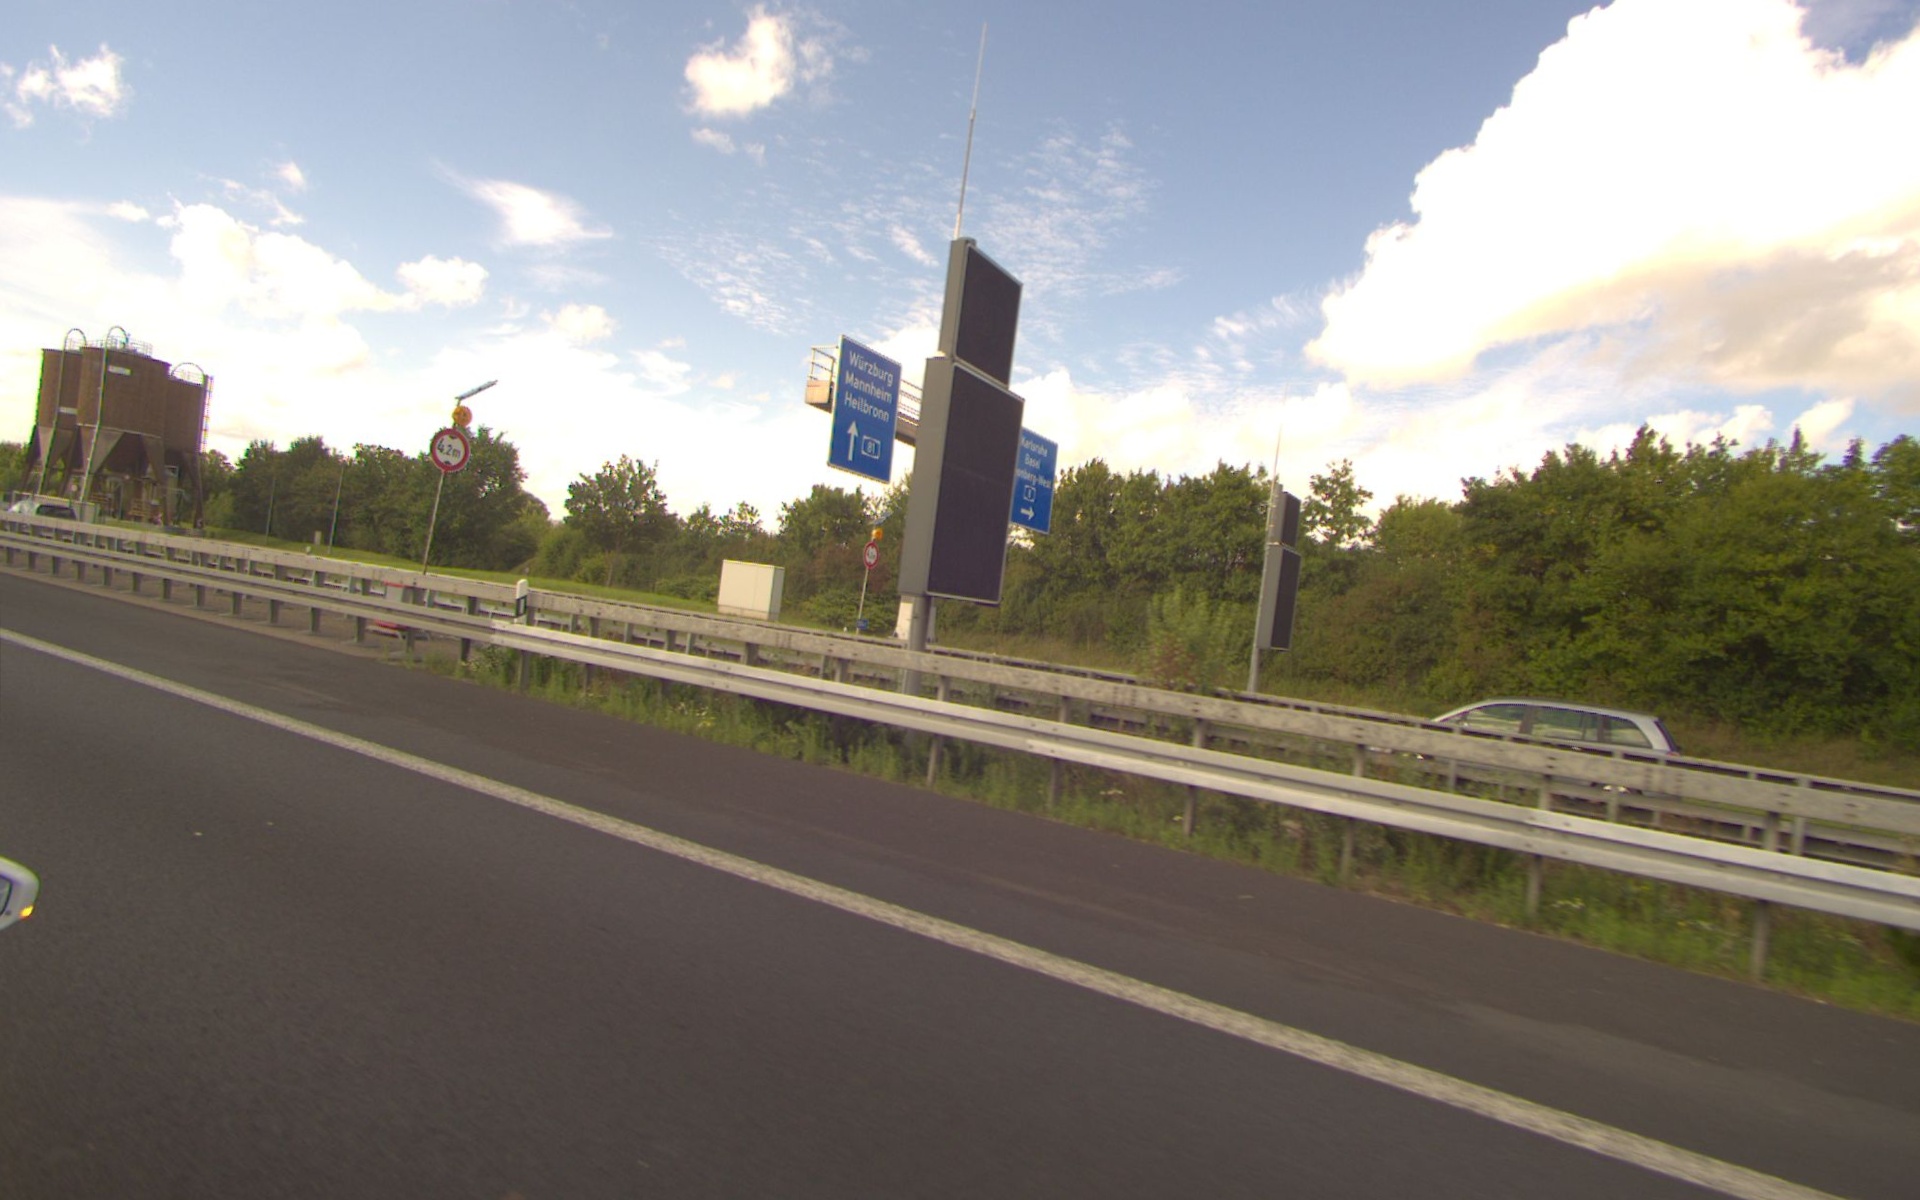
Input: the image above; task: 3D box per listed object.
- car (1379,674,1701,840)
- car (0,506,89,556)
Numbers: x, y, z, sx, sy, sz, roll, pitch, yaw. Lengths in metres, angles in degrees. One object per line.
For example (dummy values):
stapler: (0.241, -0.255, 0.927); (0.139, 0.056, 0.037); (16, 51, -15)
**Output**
car: (8.847, 2.289, 15.636); (3.933, 1.730, 1.996); (6, 1, 31)
car: (-40.897, -3.080, 44.795); (3.933, 1.739, 1.996); (6, 1, 31)
